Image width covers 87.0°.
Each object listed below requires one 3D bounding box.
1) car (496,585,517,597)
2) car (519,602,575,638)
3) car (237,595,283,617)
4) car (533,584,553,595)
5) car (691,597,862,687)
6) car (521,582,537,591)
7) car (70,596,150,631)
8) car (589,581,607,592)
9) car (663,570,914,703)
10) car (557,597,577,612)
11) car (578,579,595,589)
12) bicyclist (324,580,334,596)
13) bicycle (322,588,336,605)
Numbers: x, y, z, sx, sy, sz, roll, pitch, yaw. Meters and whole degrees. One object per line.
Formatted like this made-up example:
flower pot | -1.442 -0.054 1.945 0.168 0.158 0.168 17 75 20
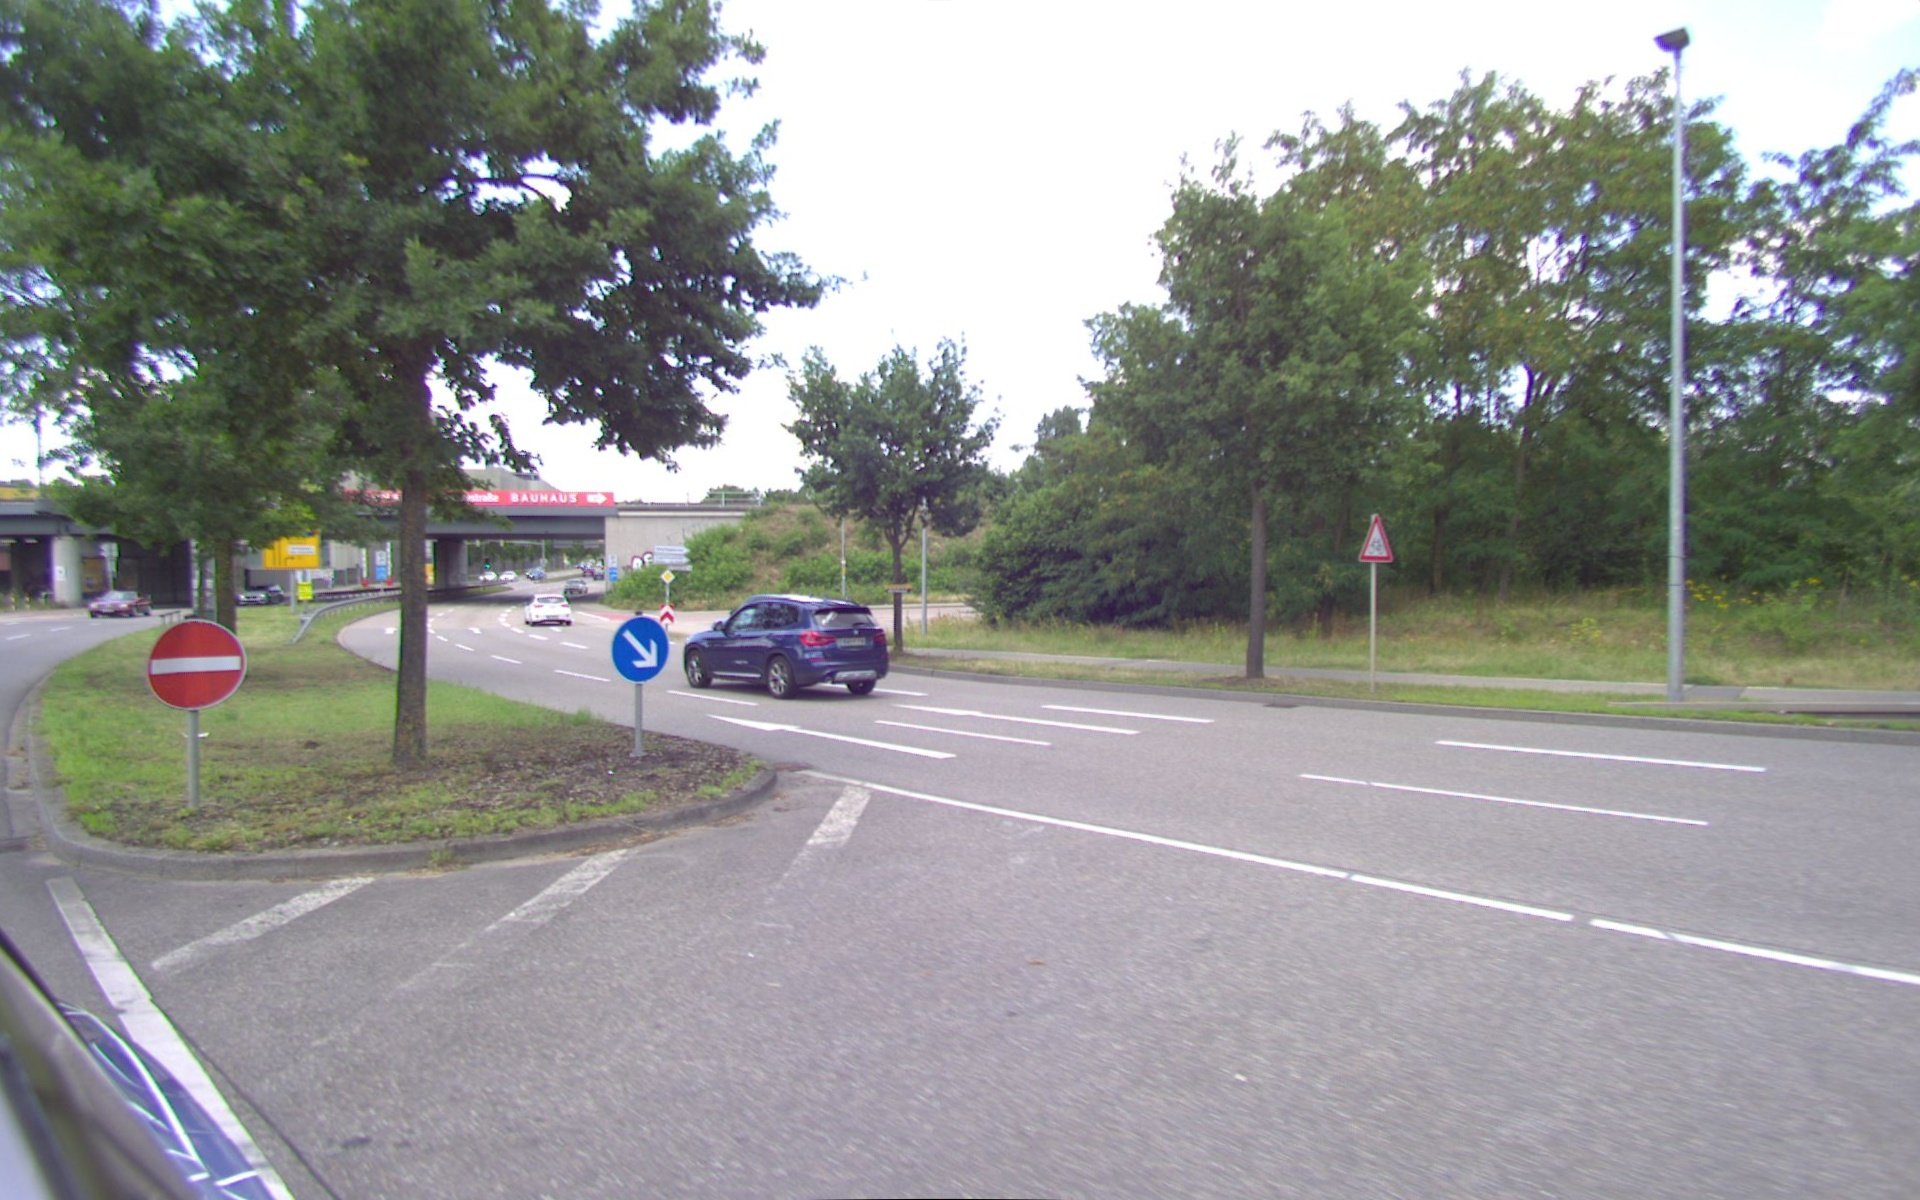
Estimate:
car | -64.148 -1.322 143.319 1.890 1.425 4.308 -5 3 -14
car | -19.585 0.936 47.933 1.965 1.544 4.345 1 0 -28
car | -52.204 0.426 75.528 1.686 1.507 3.661 0 2 -14
car | -61.689 -1.517 149.857 1.966 1.425 4.846 -2 2 -14
car | -4.511 0.902 24.293 1.969 1.875 4.723 -1 1 -40
car | -69.340 -2.194 162.933 1.754 1.507 3.609 0 2 -14
car | -41.955 0.629 50.054 1.965 1.569 4.297 0 1 -25
car | -55.876 -2.088 156.223 1.922 1.384 4.009 -2 3 -9
car | -3.158 0.601 17.864 1.970 2.029 4.821 -1 -1 -44
car | -40.035 0.453 103.156 1.728 1.522 4.013 -1 1 -18
car | -63.358 -2.734 171.710 1.968 1.687 4.332 0 2 -9
bicyclist | -69.792 -1.356 111.859 0.705 1.782 0.992 0 2 -18
bicycle | -69.850 -0.395 112.055 0.709 1.787 2.542 0 2 -18
